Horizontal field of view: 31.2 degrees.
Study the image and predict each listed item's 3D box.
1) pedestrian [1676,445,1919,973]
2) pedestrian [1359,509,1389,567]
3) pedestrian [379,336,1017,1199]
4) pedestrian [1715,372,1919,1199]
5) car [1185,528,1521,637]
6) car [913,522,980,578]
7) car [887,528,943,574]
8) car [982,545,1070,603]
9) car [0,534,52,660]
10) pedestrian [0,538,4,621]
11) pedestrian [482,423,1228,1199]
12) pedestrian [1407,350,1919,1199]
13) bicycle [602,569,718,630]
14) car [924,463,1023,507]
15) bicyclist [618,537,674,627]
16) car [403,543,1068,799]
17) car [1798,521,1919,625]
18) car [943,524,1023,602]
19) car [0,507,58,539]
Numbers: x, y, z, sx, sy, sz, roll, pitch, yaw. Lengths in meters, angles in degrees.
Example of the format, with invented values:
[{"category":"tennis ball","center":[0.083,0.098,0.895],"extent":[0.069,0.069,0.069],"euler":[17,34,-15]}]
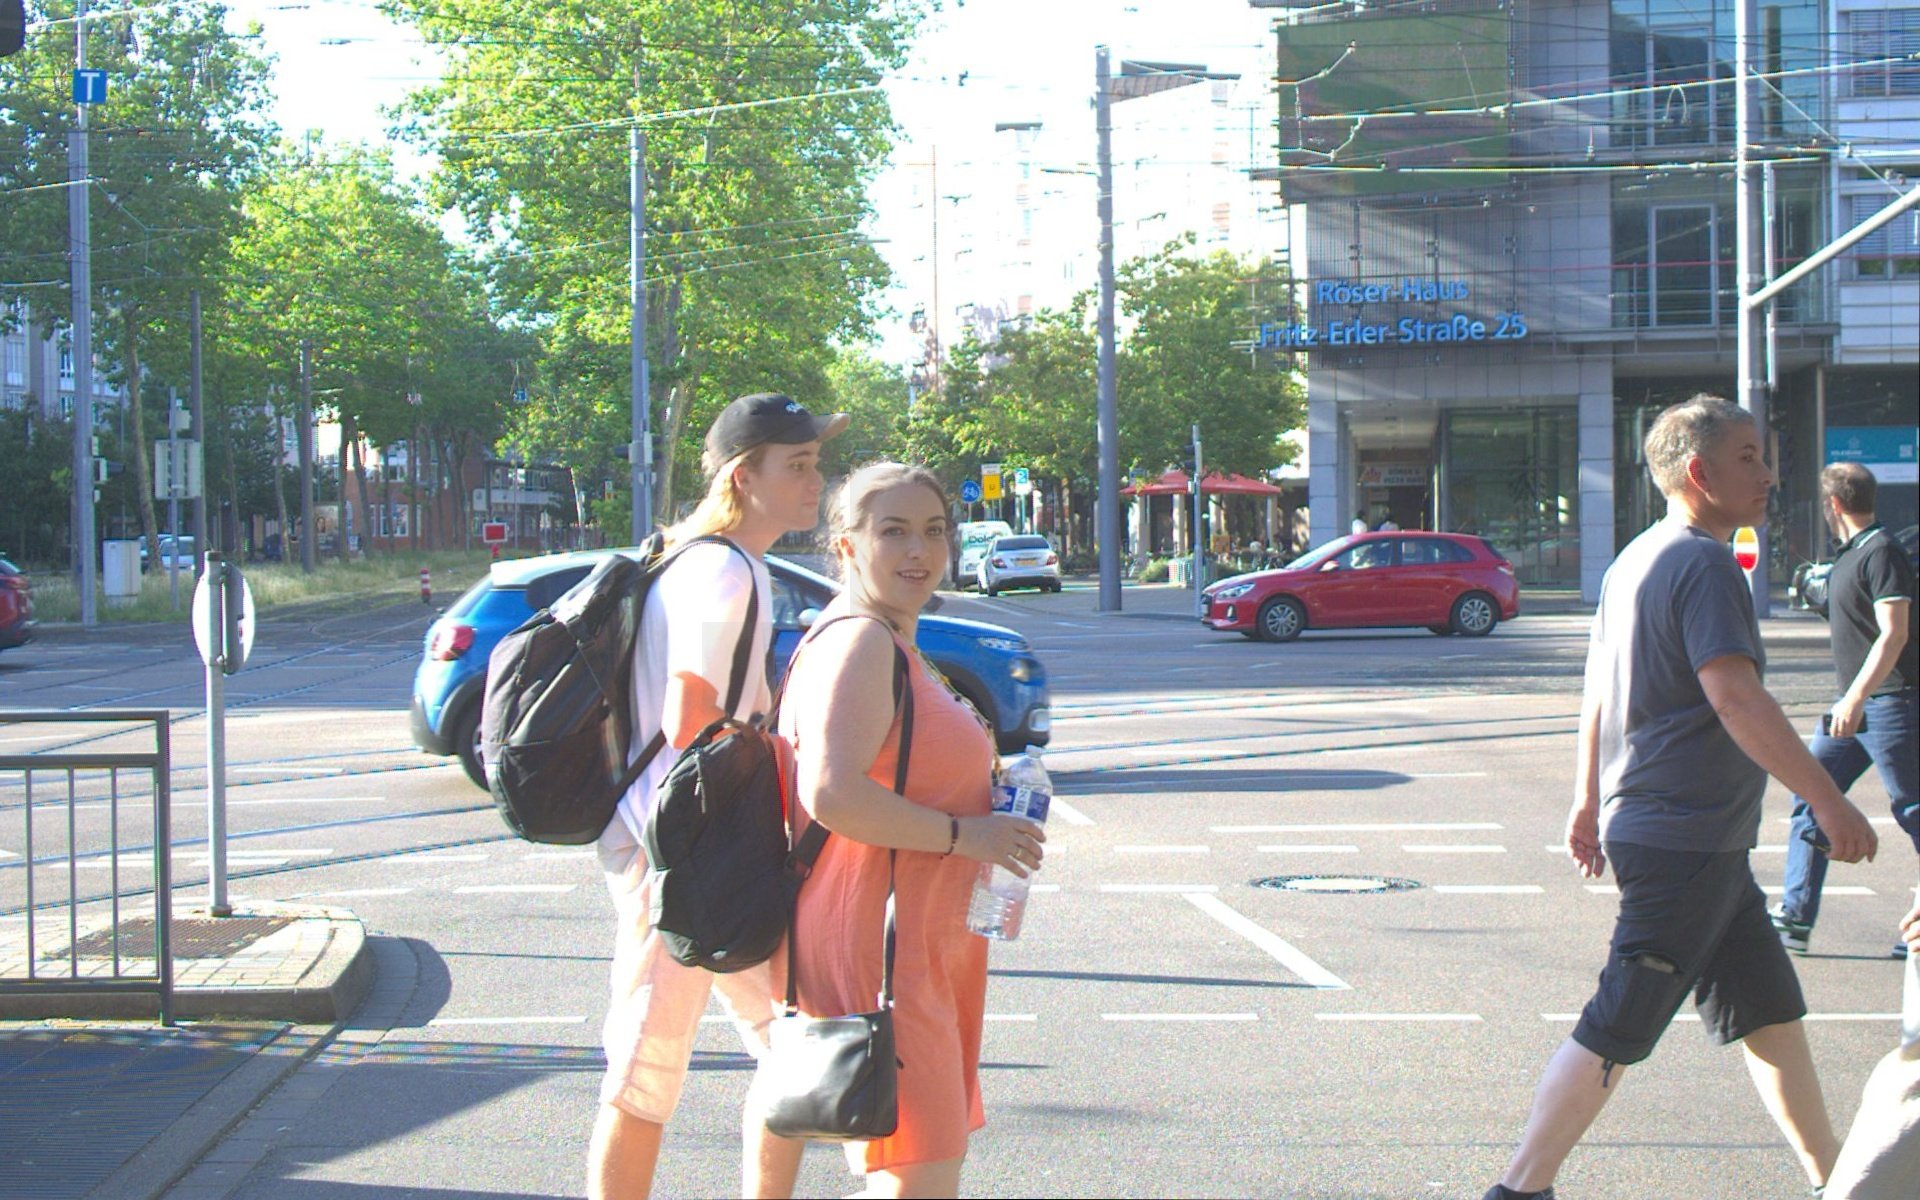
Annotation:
[{"category":"pedestrian","center":[3.351,0.378,12.413],"extent":[1.208,1.816,1.042],"euler":[1,0,-6]},{"category":"pedestrian","center":[10.578,-1.578,87.867],"extent":[0.739,1.460,0.536],"euler":[-1,1,9]},{"category":"pedestrian","center":[-0.489,0.487,6.217],"extent":[1.073,1.865,0.739],"euler":[0,0,-7]},{"category":"pedestrian","center":[2.028,0.512,6.259],"extent":[1.071,1.800,0.758],"euler":[0,0,-7]},{"category":"car","center":[5.321,-0.254,46.849],"extent":[4.240,1.387,1.796],"euler":[-1,1,-6]},{"category":"car","center":[-0.444,-1.533,105.613],"extent":[1.993,1.656,4.000],"euler":[-1,1,-1]},{"category":"car","center":[-1.665,-1.824,127.329],"extent":[1.993,1.656,4.000],"euler":[-1,1,-1]},{"category":"car","center":[1.581,-0.644,83.469],"extent":[1.993,1.327,4.000],"euler":[-1,1,-1]},{"category":"car","center":[-13.971,-0.022,44.316],"extent":[4.239,1.596,1.796],"euler":[-1,1,-11]},{"category":"pedestrian","center":[-18.018,-0.382,63.269],"extent":[0.754,1.525,0.508],"euler":[0,1,-7]},{"category":"pedestrian","center":[-0.195,0.585,5.331],"extent":[1.072,1.676,0.758],"euler":[0,0,-7]},{"category":"pedestrian","center":[1.613,0.451,7.234],"extent":[1.145,1.887,0.833],"euler":[0,0,-7]},{"category":"bicycle","center":[-4.599,-0.017,52.700],"extent":[1.741,0.896,0.409],"euler":[-1,1,-5]},{"category":"car","center":[0.553,-4.738,141.918],"extent":[3.764,1.744,1.780],"euler":[1,1,14]},{"category":"bicyclist","center":[-4.812,-0.276,52.675],"extent":[0.819,1.362,0.400],"euler":[-1,1,-5]},{"category":"car","center":[-1.395,0.403,21.609],"extent":[3.953,1.451,2.000],"euler":[-1,1,-4]},{"category":"car","center":[14.654,-0.425,51.323],"extent":[3.860,1.502,1.795],"euler":[-1,1,2]},{"category":"car","center":[0.589,-0.989,90.303],"extent":[1.993,1.985,4.000],"euler":[-1,1,-1]},{"category":"car","center":[-47.751,-3.912,173.450],"extent":[3.987,1.547,1.607],"euler":[1,1,-31]}]
